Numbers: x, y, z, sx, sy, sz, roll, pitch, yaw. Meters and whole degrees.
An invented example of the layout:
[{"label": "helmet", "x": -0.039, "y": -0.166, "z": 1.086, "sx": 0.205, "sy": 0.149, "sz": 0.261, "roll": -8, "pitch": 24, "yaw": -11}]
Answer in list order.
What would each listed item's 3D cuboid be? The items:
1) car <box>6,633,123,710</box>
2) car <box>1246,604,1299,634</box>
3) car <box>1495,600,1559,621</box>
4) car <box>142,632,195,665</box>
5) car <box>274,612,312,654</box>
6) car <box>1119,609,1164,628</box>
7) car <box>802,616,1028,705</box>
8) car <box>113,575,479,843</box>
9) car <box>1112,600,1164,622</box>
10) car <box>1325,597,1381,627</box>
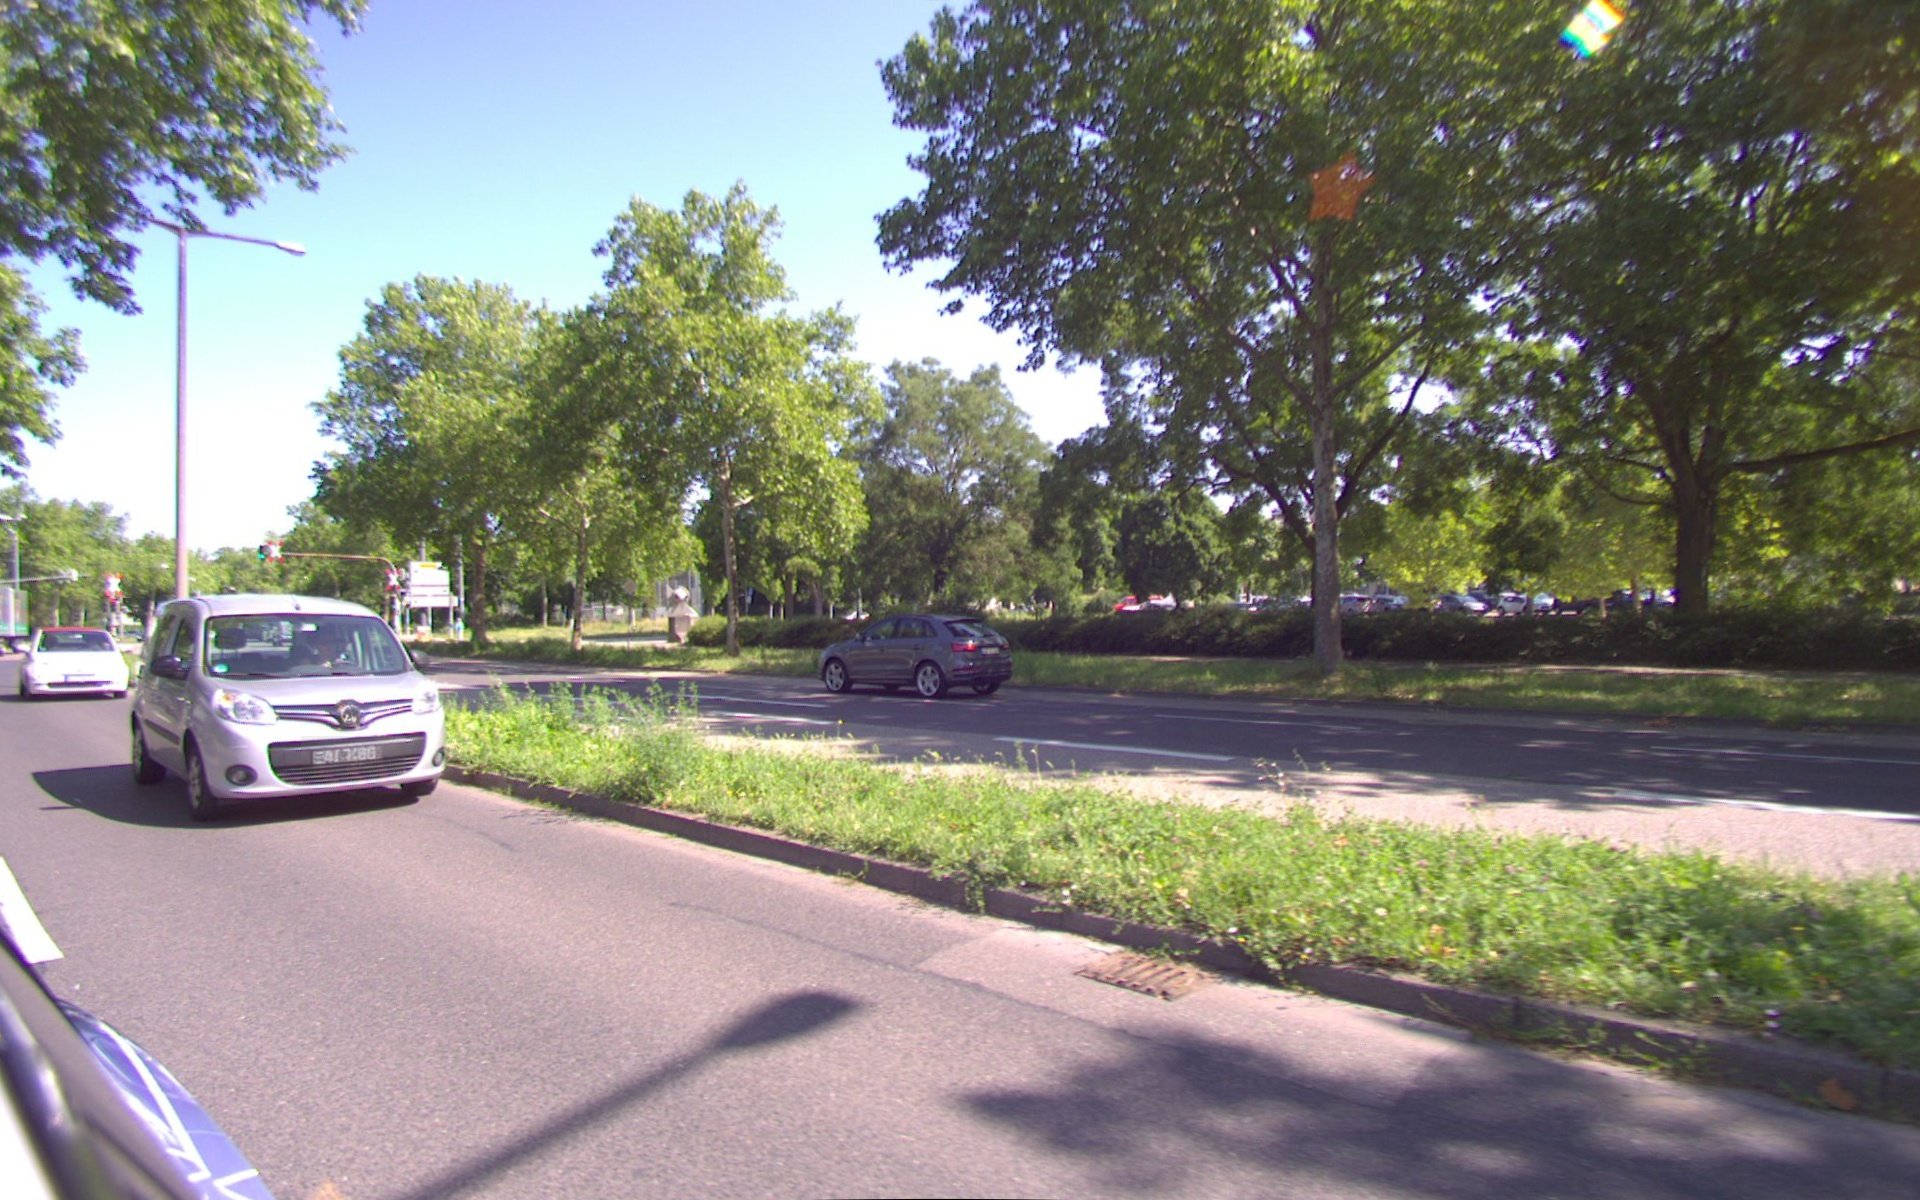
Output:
[{"label": "car", "x": -19.389, "y": 1.494, "z": 21.848, "sx": 1.665, "sy": 1.502, "sz": 4.378, "roll": 2, "pitch": -4, "yaw": -44}, {"label": "car", "x": 22.356, "y": 1.349, "z": 72.574, "sx": 1.787, "sy": 2.029, "sz": 4.010, "roll": -1, "pitch": -1, "yaw": -13}, {"label": "car", "x": 41.722, "y": 0.803, "z": 74.571, "sx": 1.787, "sy": 1.503, "sz": 4.011, "roll": -1, "pitch": -1, "yaw": -16}, {"label": "car", "x": -38.920, "y": 2.367, "z": 49.864, "sx": 1.671, "sy": 1.519, "sz": 4.141, "roll": -1, "pitch": -1, "yaw": -33}, {"label": "car", "x": -44.988, "y": 2.209, "z": 68.191, "sx": 2.032, "sy": 2.633, "sz": 7.236, "roll": 1, "pitch": -2, "yaw": -34}, {"label": "car", "x": 14.783, "y": 1.502, "z": 82.580, "sx": 3.289, "sy": 1.457, "sz": 1.351, "roll": -1, "pitch": -1, "yaw": -7}, {"label": "car", "x": -0.959, "y": 1.134, "z": 19.888, "sx": 4.391, "sy": 1.568, "sz": 1.776, "roll": -2, "pitch": -2, "yaw": 39}, {"label": "car", "x": -6.209, "y": 0.837, "z": 9.240, "sx": 4.377, "sy": 1.854, "sz": 1.851, "roll": -2, "pitch": -3, "yaw": 44}, {"label": "car", "x": 15.126, "y": 0.937, "z": 86.101, "sx": 3.924, "sy": 1.715, "sz": 1.818, "roll": -1, "pitch": -1, "yaw": -7}, {"label": "car", "x": 28.470, "y": 0.890, "z": 73.508, "sx": 1.787, "sy": 2.029, "sz": 4.010, "roll": -1, "pitch": -1, "yaw": -13}]
